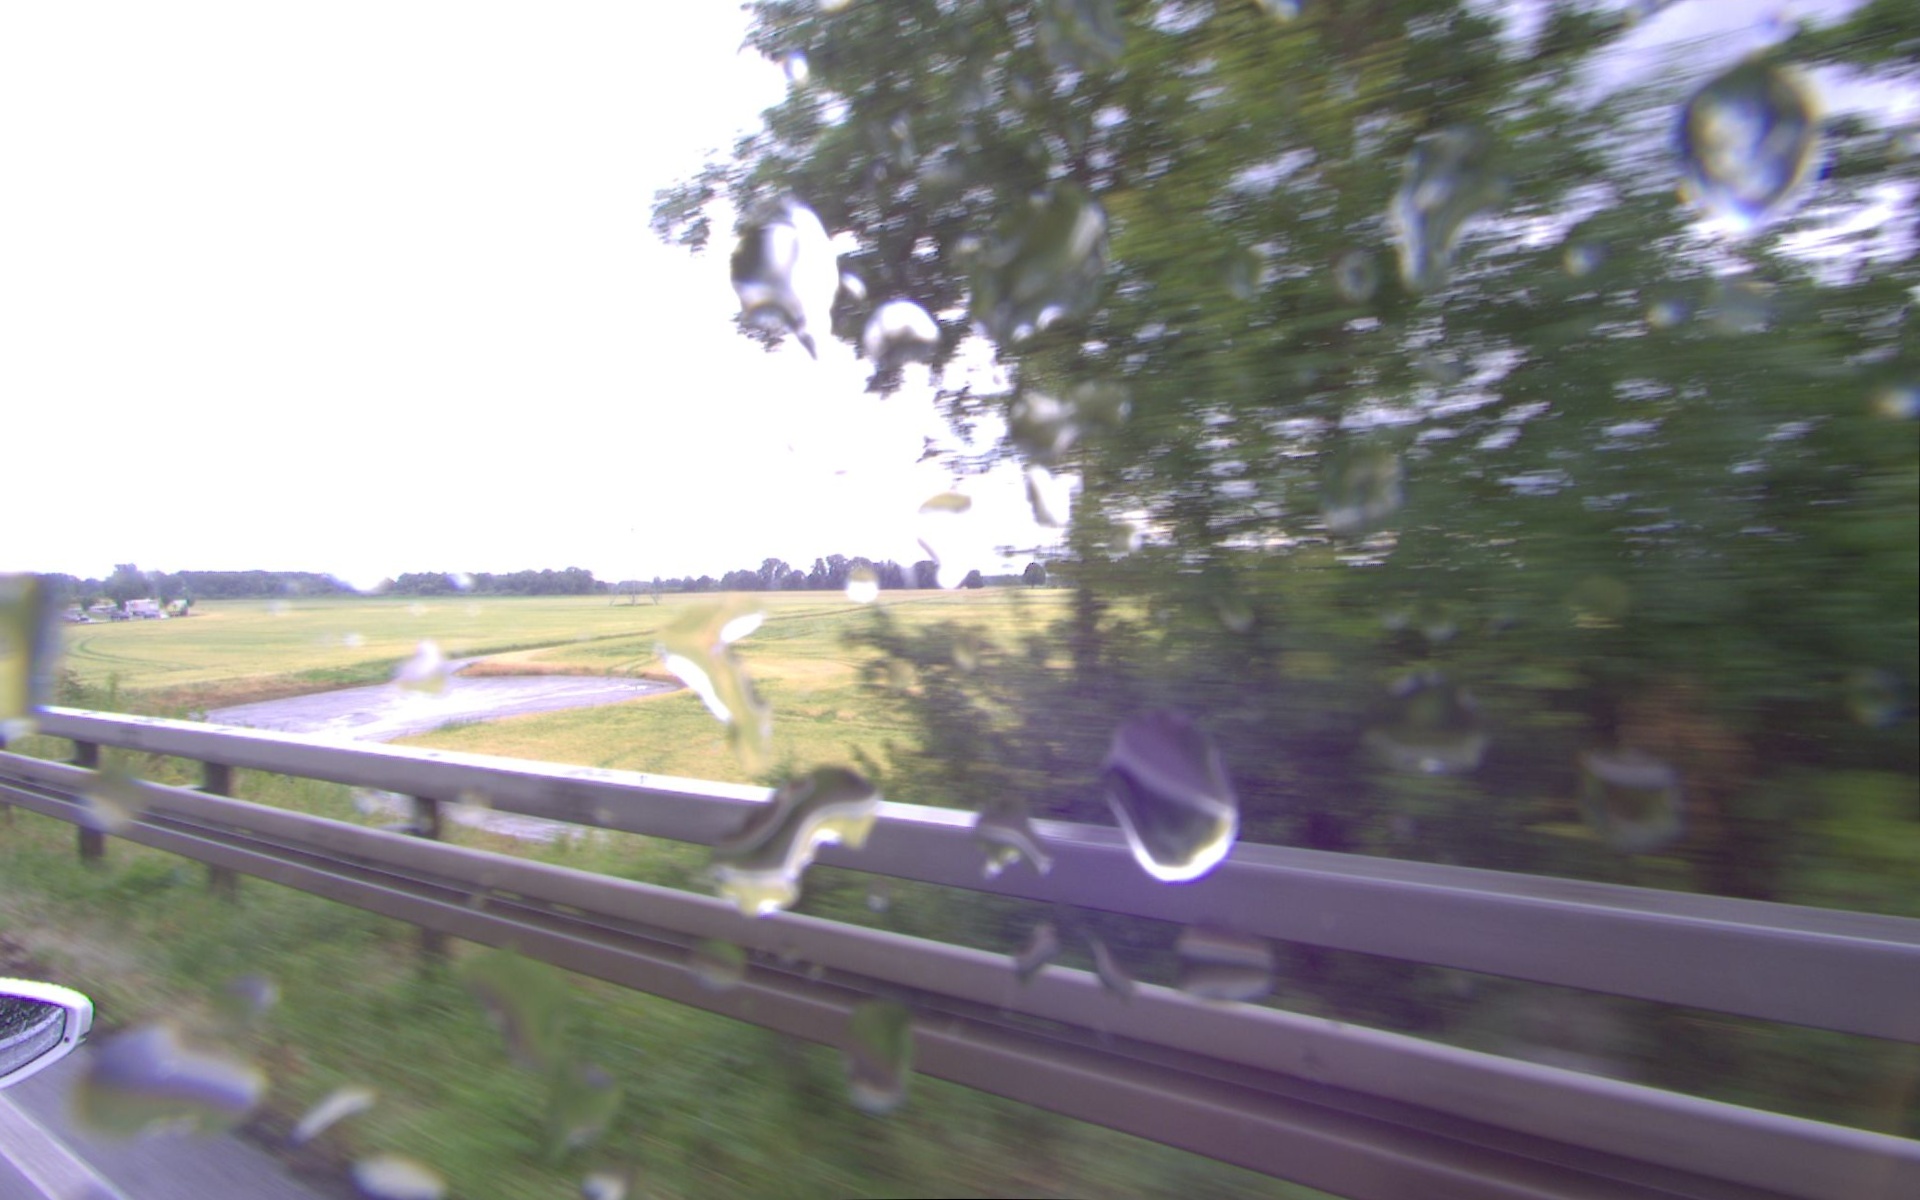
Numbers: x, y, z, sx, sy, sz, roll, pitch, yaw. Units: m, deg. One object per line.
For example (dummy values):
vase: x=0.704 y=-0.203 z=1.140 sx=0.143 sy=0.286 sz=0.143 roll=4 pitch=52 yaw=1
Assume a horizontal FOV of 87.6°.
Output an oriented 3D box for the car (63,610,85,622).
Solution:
car: x=-162.638 y=2.937 z=183.814 sx=1.969 sy=2.039 sz=3.986 roll=0 pitch=-2 yaw=-26

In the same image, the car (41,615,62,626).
car: x=-159.916 y=3.639 z=176.277 sx=1.797 sy=1.861 sz=3.973 roll=0 pitch=-2 yaw=-27
